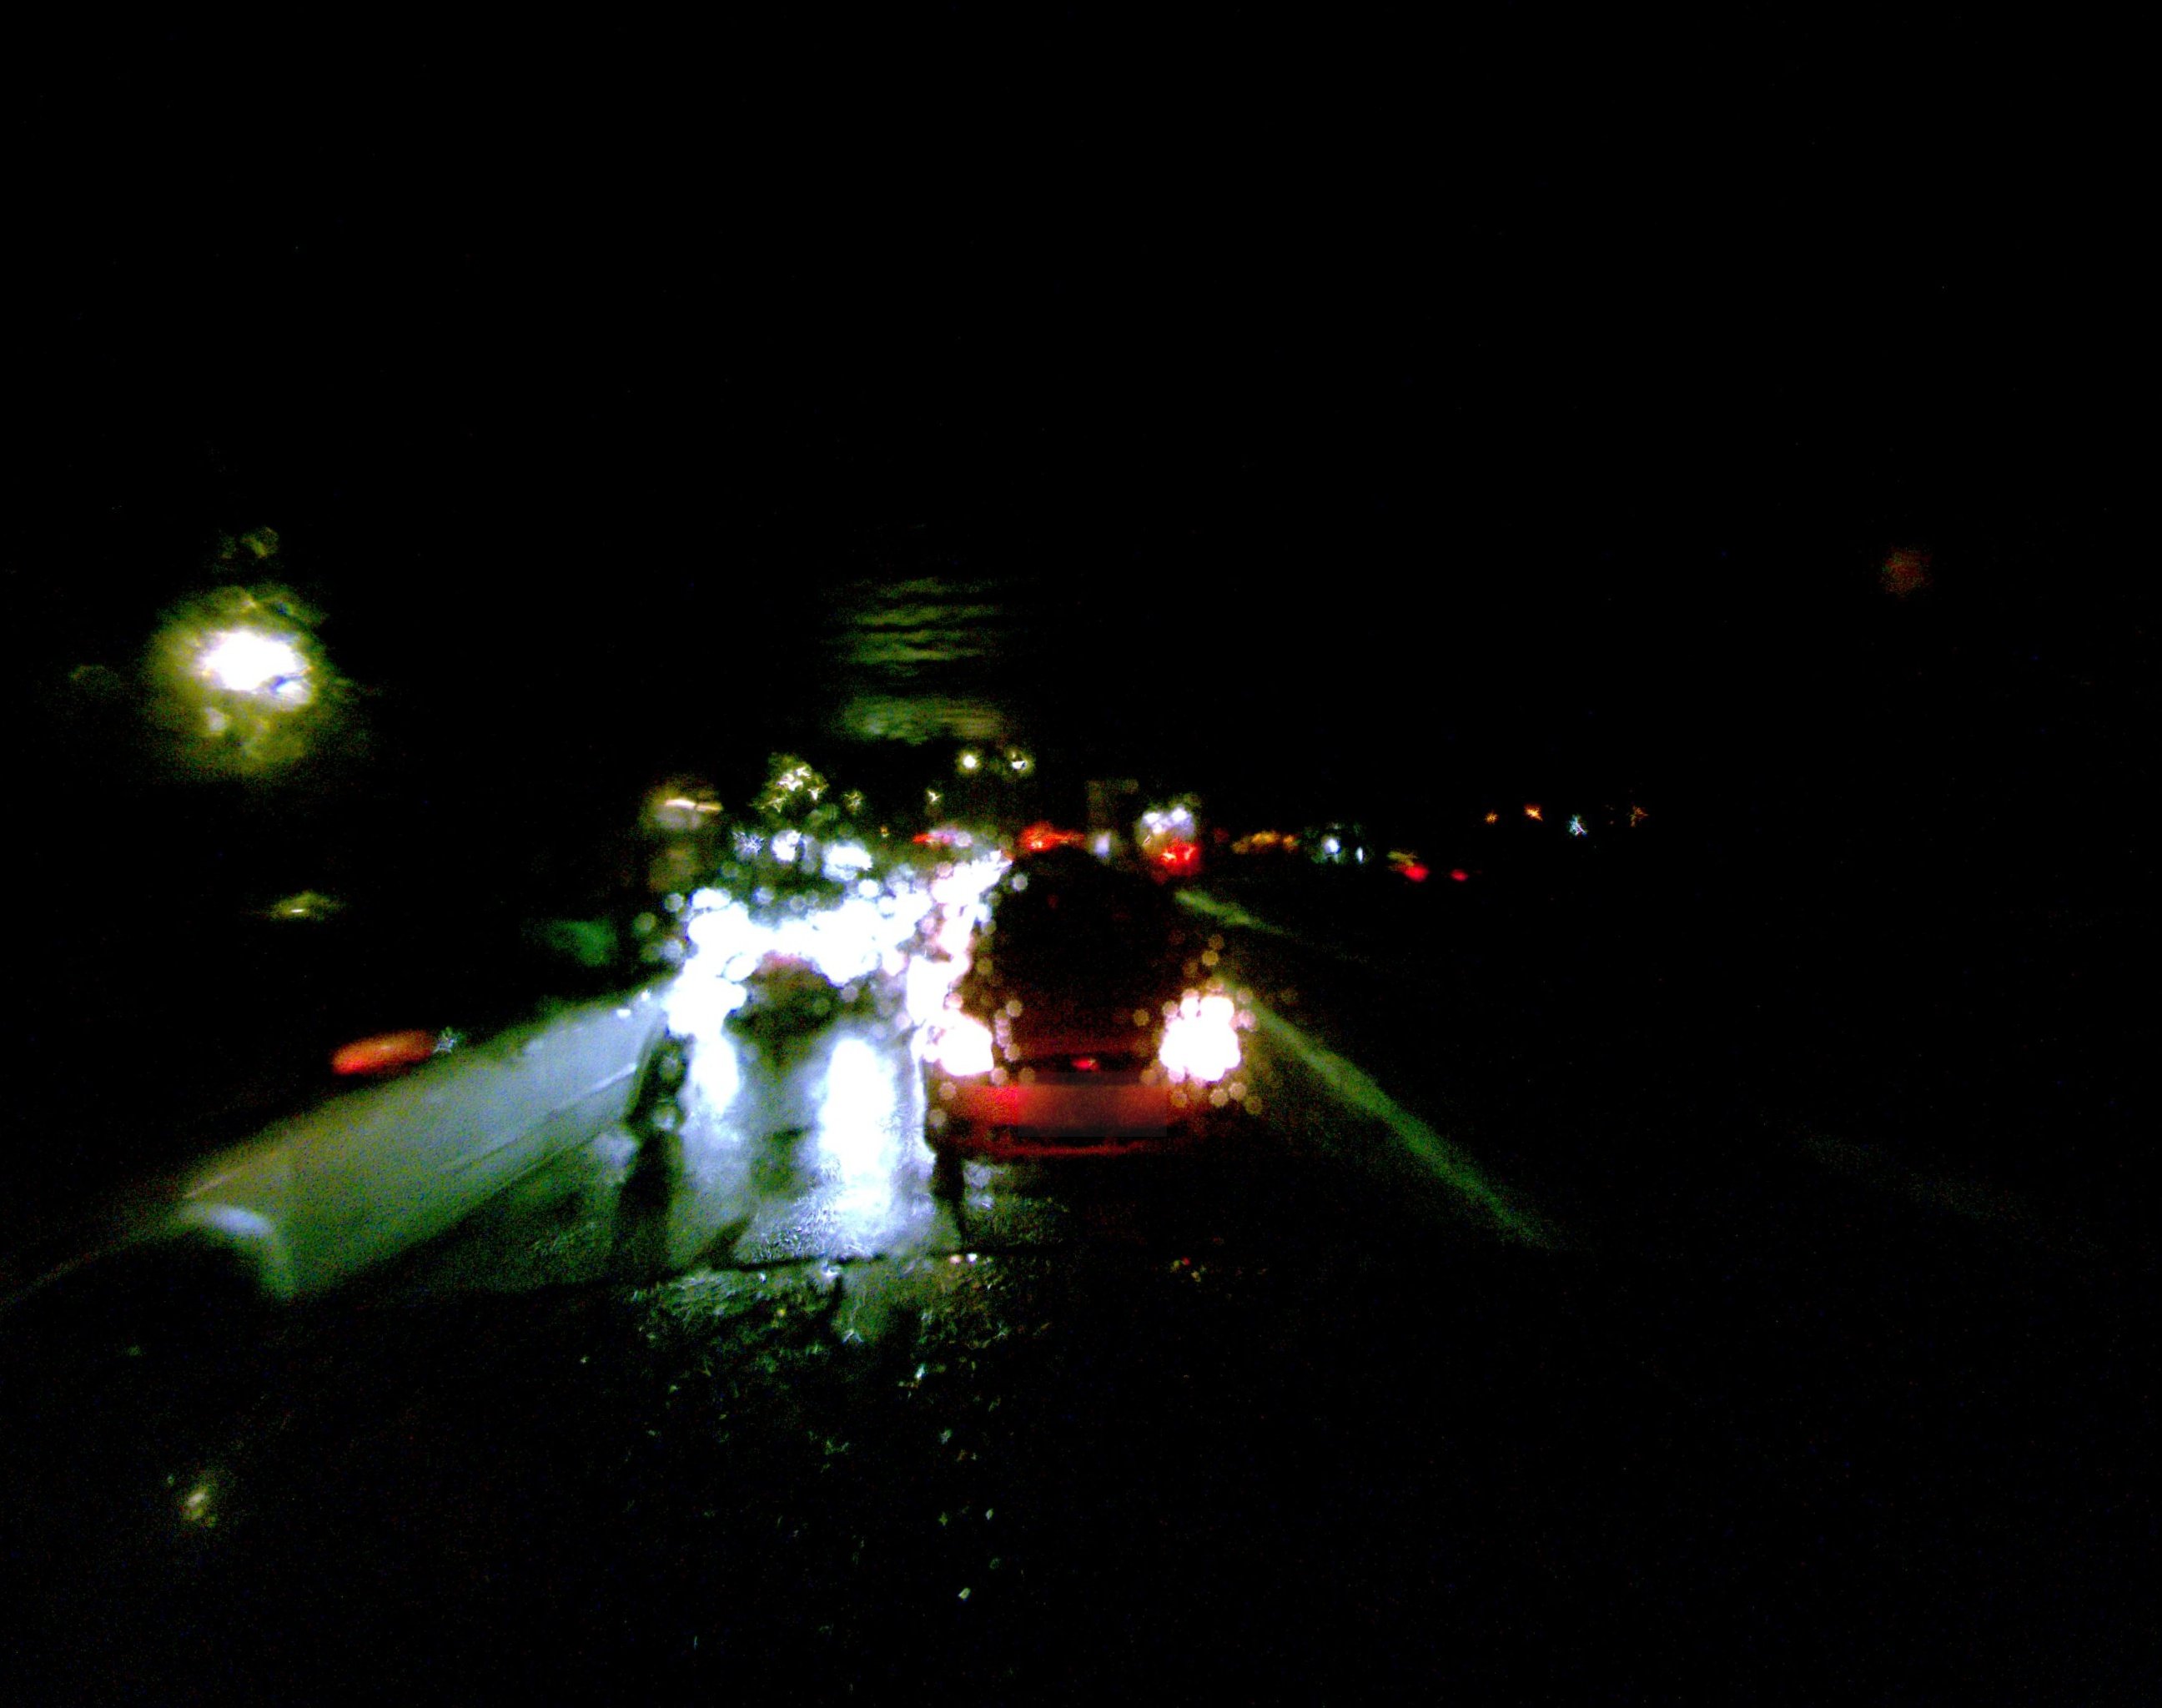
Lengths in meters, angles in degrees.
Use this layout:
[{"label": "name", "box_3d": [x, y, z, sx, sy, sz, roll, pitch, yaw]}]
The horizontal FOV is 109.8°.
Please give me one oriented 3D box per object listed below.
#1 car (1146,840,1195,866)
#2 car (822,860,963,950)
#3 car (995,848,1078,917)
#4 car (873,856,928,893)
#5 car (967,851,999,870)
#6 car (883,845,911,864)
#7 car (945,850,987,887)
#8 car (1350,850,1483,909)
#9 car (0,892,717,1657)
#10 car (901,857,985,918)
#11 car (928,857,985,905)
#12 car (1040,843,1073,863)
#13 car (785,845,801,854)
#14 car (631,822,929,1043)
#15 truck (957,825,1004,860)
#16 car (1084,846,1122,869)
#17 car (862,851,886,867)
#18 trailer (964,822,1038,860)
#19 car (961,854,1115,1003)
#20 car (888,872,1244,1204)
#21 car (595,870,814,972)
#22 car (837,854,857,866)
[{"label": "car", "box_3d": [6.528, -0.054, 55.825, 1.861, 1.739, 4.499, -3, 1, -17]}, {"label": "car", "box_3d": [-3.736, 0.941, 15.739, 1.869, 1.503, 3.766, -2, 1, 1]}, {"label": "car", "box_3d": [-1.106, 0.644, 19.702, 1.881, 1.534, 3.999, -2, 1, -2]}, {"label": "car", "box_3d": [-7.719, 0.842, 32.931, 1.854, 1.447, 4.499, -1, 0, -8]}, {"label": "car", "box_3d": [-7.805, 0.518, 60.354, 1.855, 1.476, 4.479, -1, 0, -16]}, {"label": "car", "box_3d": [-14.860, 0.002, 61.274, 1.855, 1.423, 4.494, -2, 2, -17]}, {"label": "car", "box_3d": [-5.382, 0.658, 36.045, 1.743, 1.581, 3.997, -2, 1, -6]}, {"label": "car", "box_3d": [9.883, 0.728, 22.783, 1.911, 1.578, 4.080, 1, -1, -5]}, {"label": "car", "box_3d": [-3.183, 1.004, 2.678, 1.792, 1.359, 3.999, -2, 2, 0]}, {"label": "car", "box_3d": [-3.916, 0.901, 22.172, 1.629, 1.494, 3.999, -2, 1, 1]}, {"label": "car", "box_3d": [-4.377, 0.903, 27.200, 1.683, 1.463, 3.998, -2, 1, -5]}, {"label": "car", "box_3d": [-2.417, -0.100, 73.685, 1.972, 1.731, 4.911, -2, 1, -17]}, {"label": "car", "box_3d": [-51.167, -0.833, 134.929, 1.885, 1.463, 3.990, -3, 1, -32]}, {"label": "car", "box_3d": [-3.365, 0.746, 9.577, 1.999, 2.076, 4.347, -2, 1, -1]}, {"label": "truck", "box_3d": [-12.969, -1.428, 97.861, 3.975, 4.152, 6.363, -3, 1, -27]}, {"label": "car", "box_3d": [1.779, 0.300, 62.428, 1.911, 1.731, 4.392, -2, 1, -14]}, {"label": "car", "box_3d": [-20.792, 0.477, 76.145, 1.884, 1.463, 3.993, -3, 1, -21]}, {"label": "trailer", "box_3d": [-9.897, -1.467, 91.832, 3.975, 4.152, 13.890, -3, 1, -27]}, {"label": "car", "box_3d": [-0.462, 0.849, 10.617, 1.683, 1.591, 3.996, -2, 1, 1]}, {"label": "car", "box_3d": [-0.043, 0.906, 5.507, 1.603, 1.360, 3.942, -2, 1, 1]}, {"label": "car", "box_3d": [-6.588, 1.074, 13.983, 1.853, 1.476, 4.628, -1, 0, -2]}, {"label": "car", "box_3d": [-30.501, 0.725, 99.037, 1.884, 1.463, 3.992, -3, 1, -25]}]
